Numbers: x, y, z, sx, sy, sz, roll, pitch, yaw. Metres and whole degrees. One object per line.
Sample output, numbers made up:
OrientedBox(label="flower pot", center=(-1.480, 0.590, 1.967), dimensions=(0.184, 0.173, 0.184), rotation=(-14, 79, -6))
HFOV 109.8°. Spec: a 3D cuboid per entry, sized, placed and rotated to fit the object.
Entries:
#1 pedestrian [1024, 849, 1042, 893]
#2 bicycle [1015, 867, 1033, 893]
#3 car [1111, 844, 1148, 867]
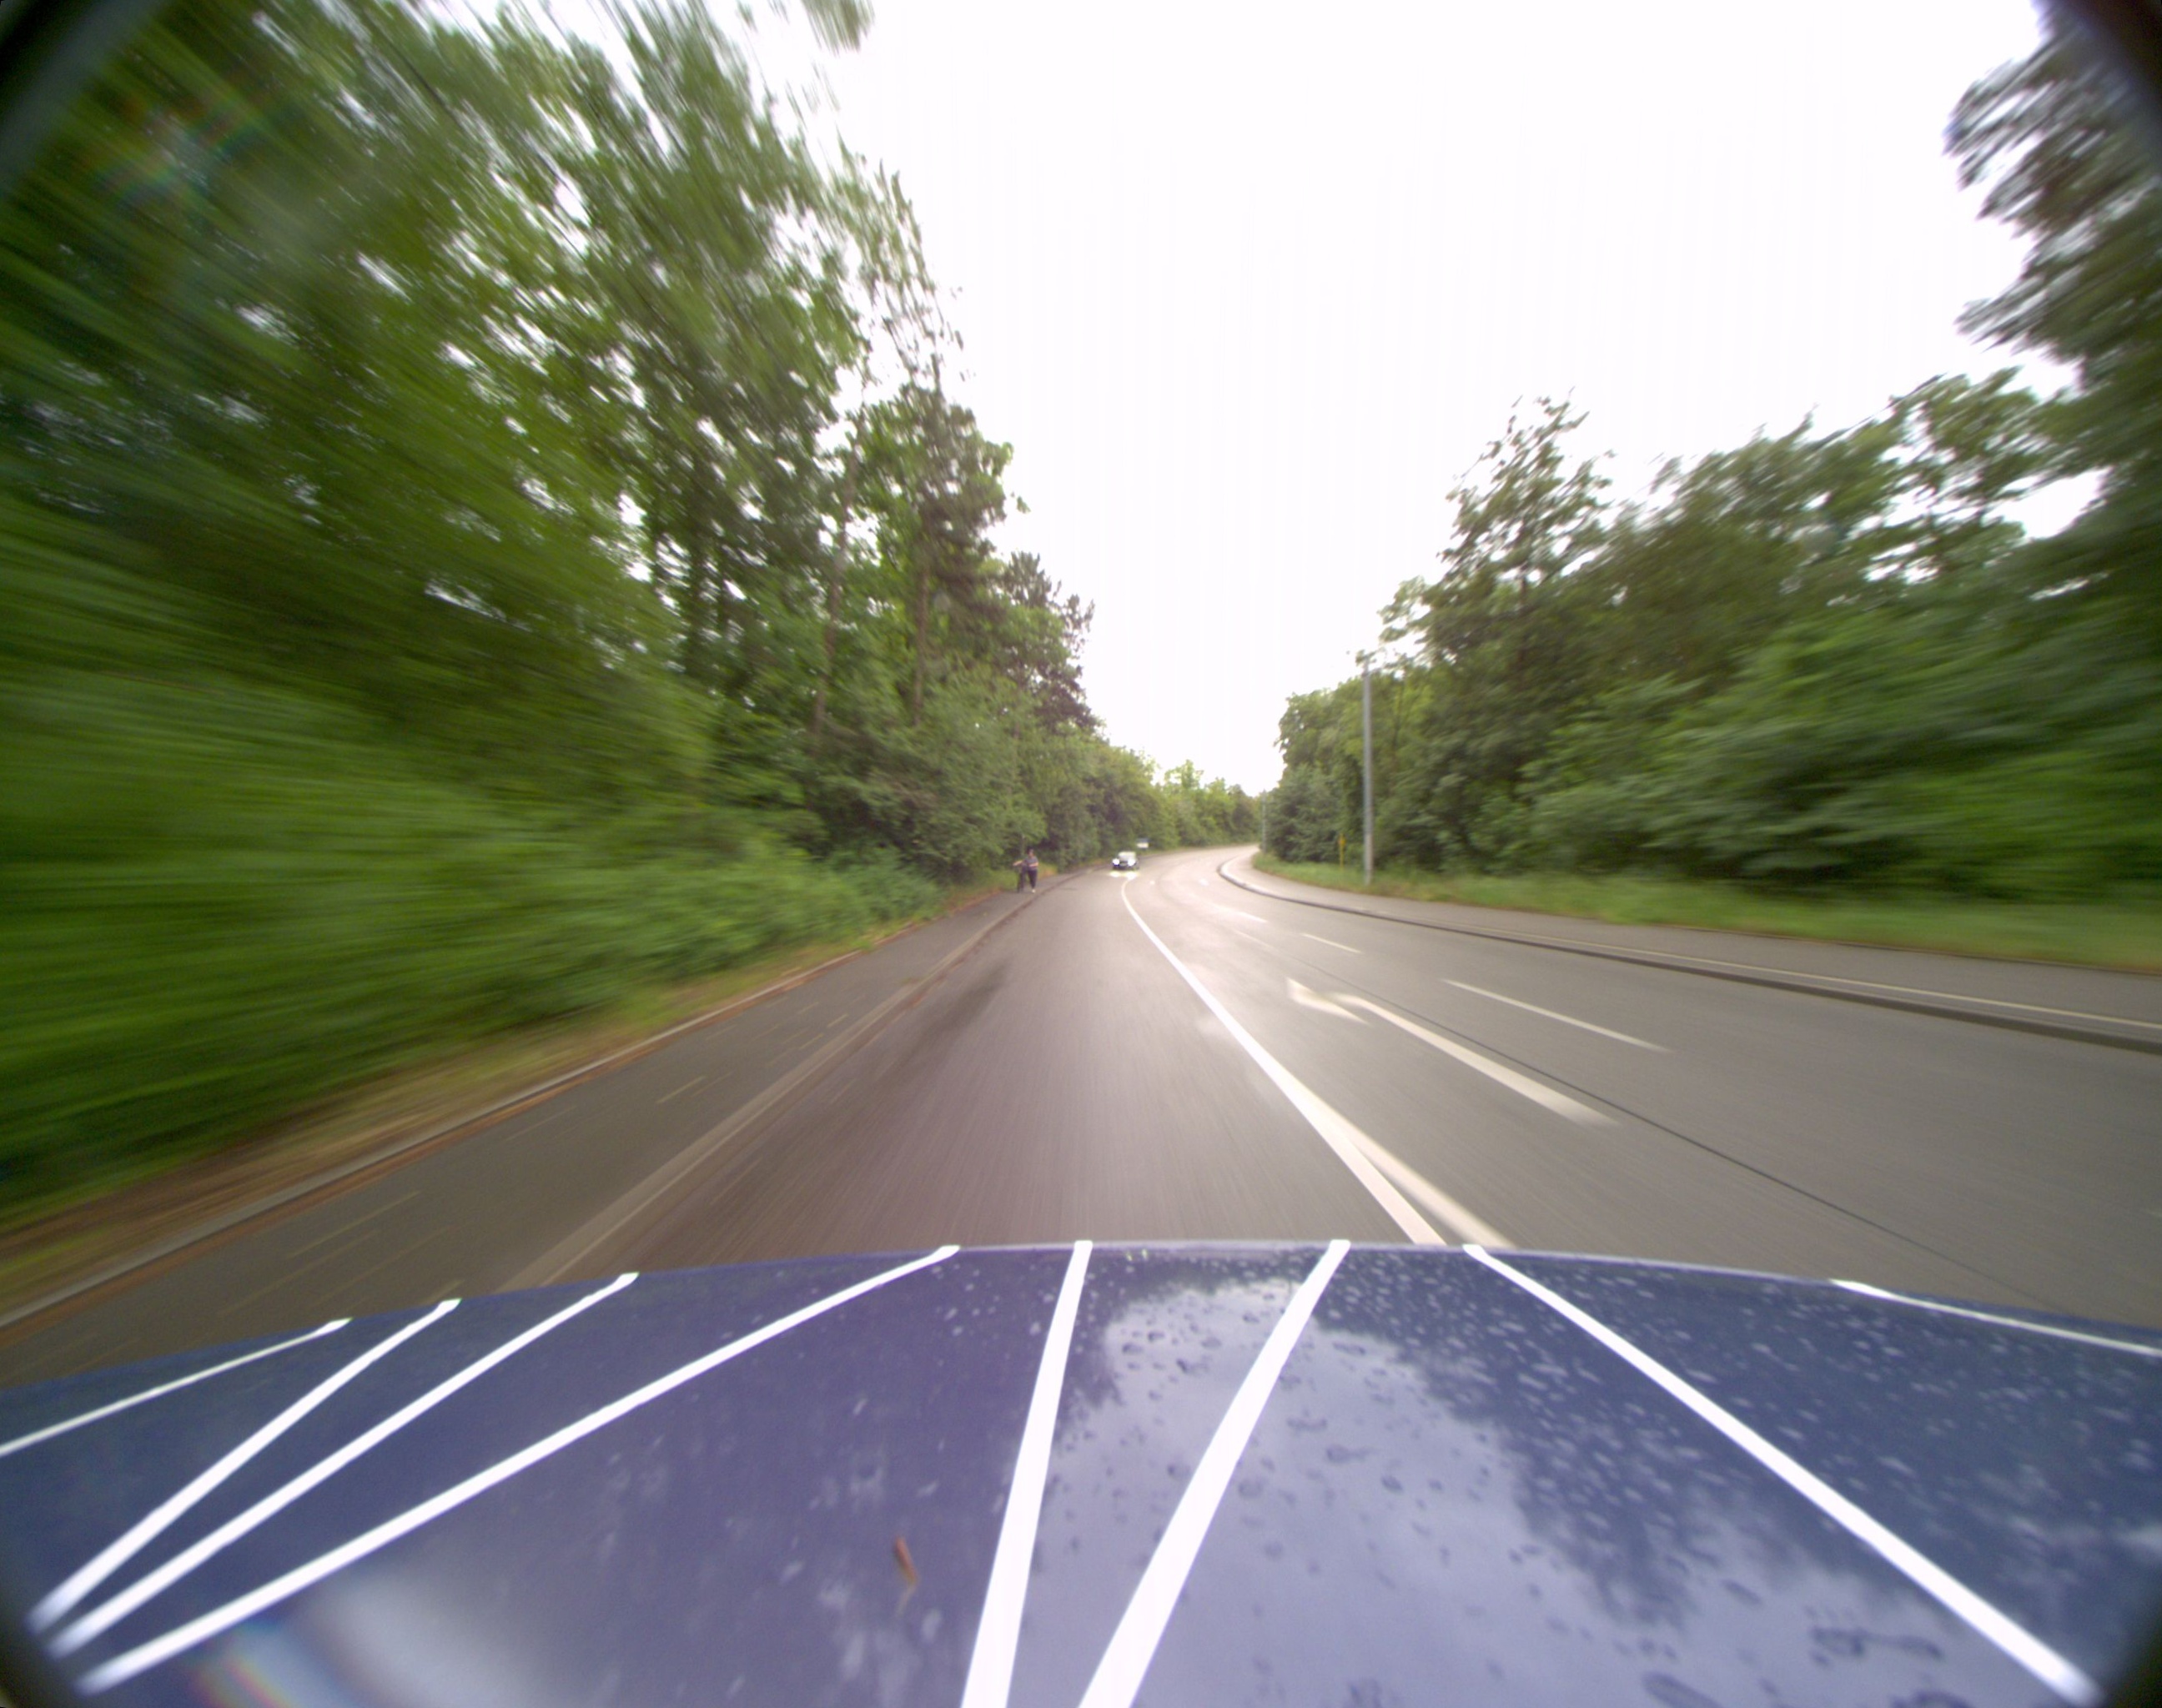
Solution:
OrientedBox(label="pedestrian", center=(-1.799, 0.643, 28.469), dimensions=(0.565, 1.569, 0.769), rotation=(2, 4, 4))
OrientedBox(label="bicycle", center=(-2.149, 0.969, 28.849), dimensions=(0.356, 0.844, 1.743), rotation=(4, 2, 4))
OrientedBox(label="car", center=(3.933, 0.086, 60.547), dimensions=(1.828, 1.513, 4.004), rotation=(6, 5, 19))
